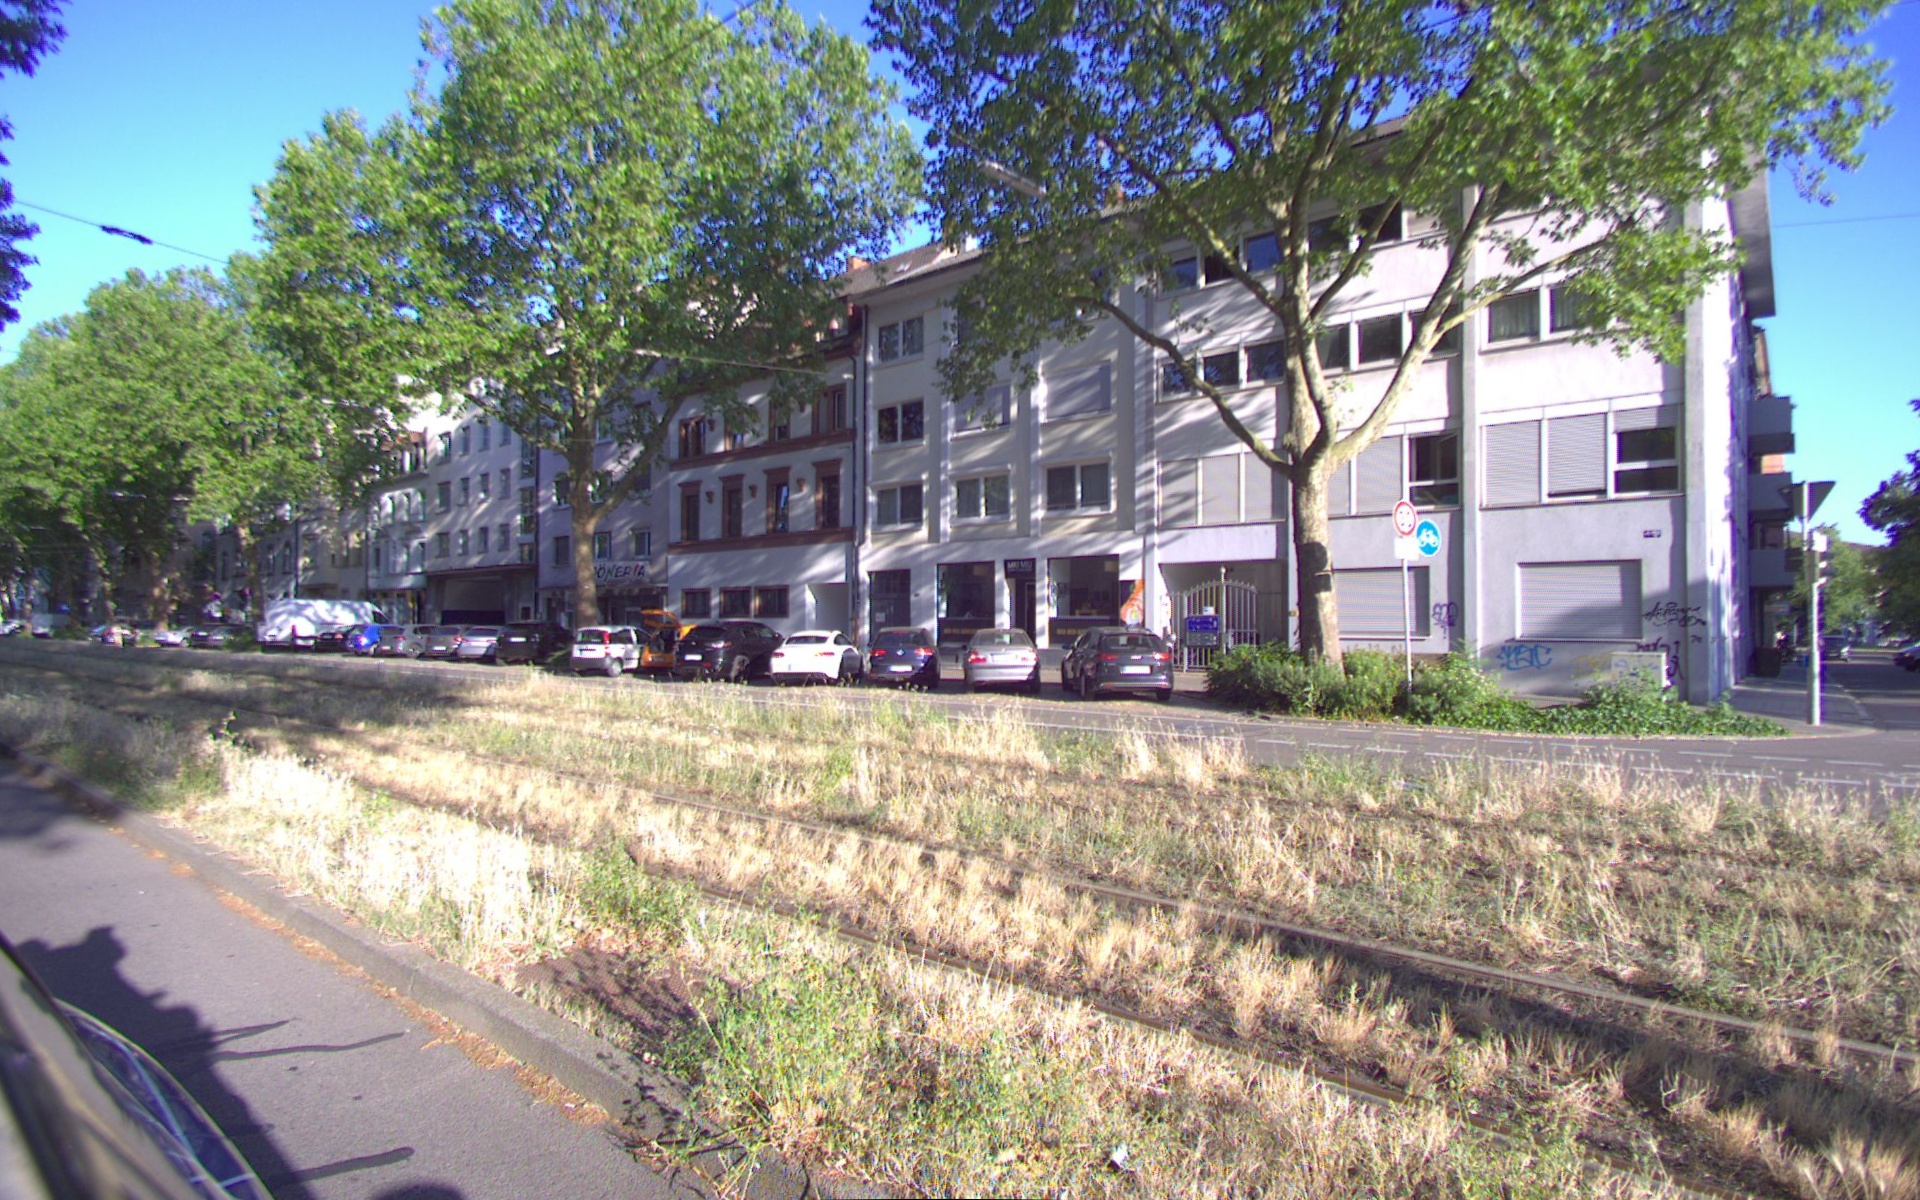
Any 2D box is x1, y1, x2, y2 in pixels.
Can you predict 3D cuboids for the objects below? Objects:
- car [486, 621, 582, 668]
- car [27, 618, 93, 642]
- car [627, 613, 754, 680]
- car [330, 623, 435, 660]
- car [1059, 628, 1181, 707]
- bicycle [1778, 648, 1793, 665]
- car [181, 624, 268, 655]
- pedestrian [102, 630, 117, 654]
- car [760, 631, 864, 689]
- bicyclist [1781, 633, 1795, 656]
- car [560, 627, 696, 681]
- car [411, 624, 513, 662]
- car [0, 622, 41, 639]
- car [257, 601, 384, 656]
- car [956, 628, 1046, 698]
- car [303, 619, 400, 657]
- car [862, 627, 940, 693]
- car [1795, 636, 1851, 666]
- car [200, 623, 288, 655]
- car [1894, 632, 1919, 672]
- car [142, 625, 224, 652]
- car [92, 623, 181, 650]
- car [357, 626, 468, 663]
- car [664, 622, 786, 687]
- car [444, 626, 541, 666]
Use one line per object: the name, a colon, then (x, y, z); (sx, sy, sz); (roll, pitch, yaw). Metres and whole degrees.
car: (-15.562, 1.607, 37.202); (1.879, 1.626, 4.260); (0, -2, -3)
car: (-88.338, 2.942, 99.422); (2.071, 2.230, 4.943); (0, -2, -2)
car: (-8.352, 1.416, 31.723); (1.508, 1.958, 4.221); (-1, -2, 25)
car: (-26.289, 1.859, 46.247); (1.980, 1.630, 3.982); (0, -2, 13)
car: (3.236, 1.335, 21.190); (1.746, 1.442, 3.973); (0, -1, -2)
bicycle: (49.526, 3.364, 60.733); (0.632, 0.988, 1.962); (-1, -2, 41)
car: (-45.151, 2.380, 62.233); (1.980, 1.830, 3.982); (0, -2, 13)
pedestrian: (-55.257, 2.723, 65.750); (0.422, 1.610, 0.612); (-1, -2, 41)
car: (-3.799, 1.529, 26.691); (2.123, 1.388, 4.257); (0, -2, 0)
bicyclist: (49.600, 2.654, 60.623); (0.632, 1.341, 0.956); (-1, -2, 41)
car: (-10.287, 1.635, 31.674); (1.634, 1.569, 4.221); (-1, -2, 25)
car: (-20.469, 1.744, 41.798); (1.883, 1.468, 4.251); (0, -2, 4)
car: (-106.677, 3.466, 114.404); (3.937, 1.827, 1.876); (2, -2, -40)
car: (-33.096, 1.474, 52.625); (2.161, 2.721, 5.583); (0, -2, 16)
car: (0.858, 1.387, 23.299); (1.717, 1.443, 3.973); (-1, -2, -2)
car: (-30.745, 1.920, 51.262); (1.980, 1.830, 3.982); (0, -2, 13)
car: (-1.465, 1.457, 25.600); (1.805, 1.516, 3.973); (0, -2, -2)
car: (62.850, 3.678, 73.785); (1.991, 2.029, 5.371); (-1, -2, 29)
car: (-42.556, 2.327, 60.239); (1.980, 1.830, 3.982); (0, -2, 13)
car: (50.907, 2.648, 50.888); (5.406, 2.029, 1.979); (-1, -2, 31)
car: (-51.794, 2.545, 67.576); (1.980, 1.719, 3.982); (0, -2, 13)
car: (-54.840, 2.402, 67.455); (1.996, 1.719, 4.184); (-1, -2, 36)
car: (-23.861, 1.914, 44.275); (1.985, 1.530, 3.973); (0, -2, 20)
car: (-6.505, 1.486, 28.541); (2.126, 1.697, 4.250); (0, -2, 6)
car: (-18.133, 1.771, 39.486); (1.582, 1.470, 4.251); (0, -2, 4)
